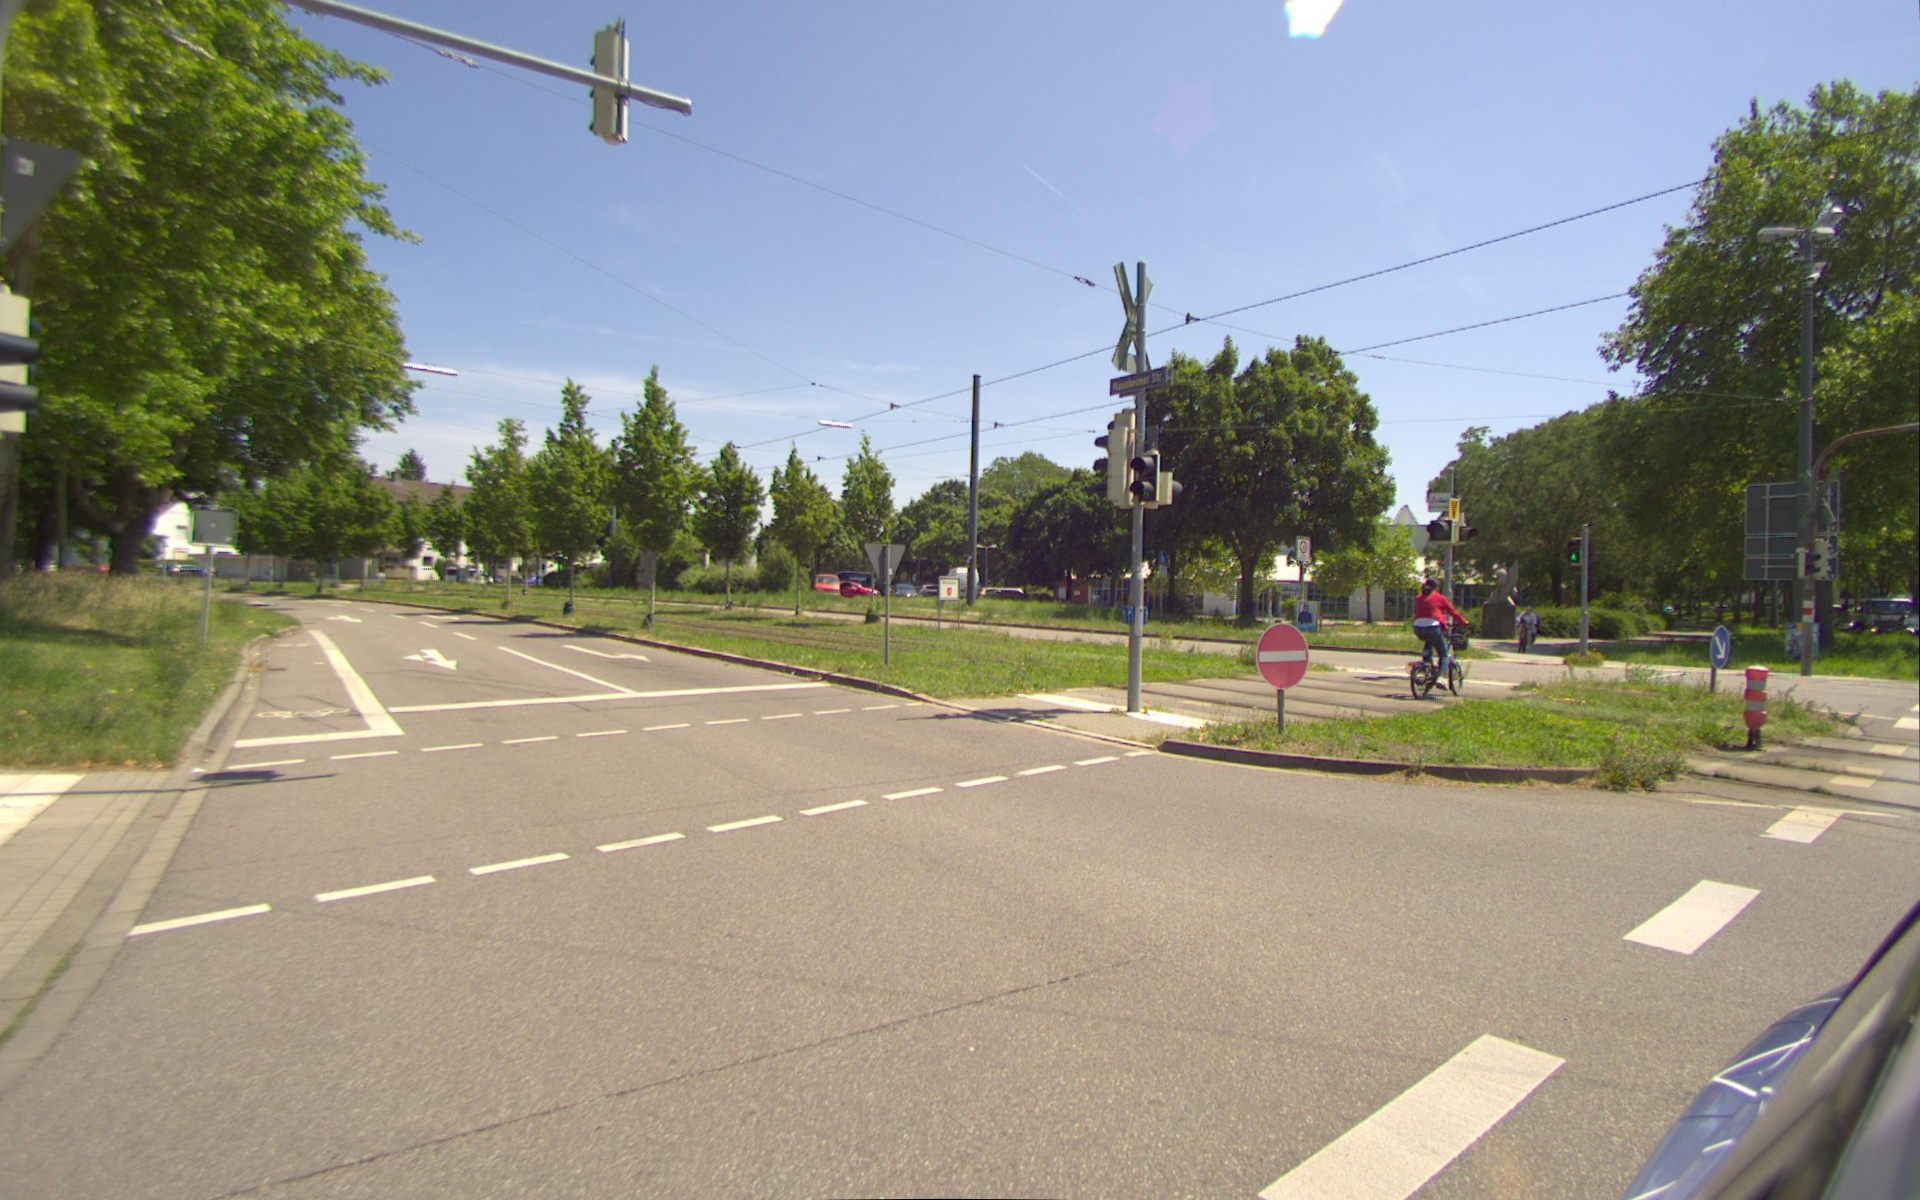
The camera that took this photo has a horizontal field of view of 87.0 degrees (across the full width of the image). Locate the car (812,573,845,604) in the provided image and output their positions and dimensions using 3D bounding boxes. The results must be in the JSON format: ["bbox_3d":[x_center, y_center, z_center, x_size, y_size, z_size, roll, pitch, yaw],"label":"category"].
[{"bbox_3d":[-9.305,-0.819,71.287,2.031,2.028,4.671,1,0,-10],"label":"car"}]

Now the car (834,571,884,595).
[{"bbox_3d":[-9.452,-1.588,94.583,4.329,2.039,2.251,1,0,-14],"label":"car"}]

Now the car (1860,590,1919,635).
[{"bbox_3d":[60.147,0.777,65.172,2.906,2.687,6.276,2,1,39],"label":"car"}]

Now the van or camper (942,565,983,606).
[{"bbox_3d":[0.144,-1.042,72.926,2.158,2.785,5.138,1,1,-9],"label":"van or camper"}]

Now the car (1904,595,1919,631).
[{"bbox_3d":[51.273,0.685,53.221,1.990,1.816,3.944,1,1,38],"label":"car"}]

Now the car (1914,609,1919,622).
[{"bbox_3d":[104.050,1.691,108.478,1.846,1.436,4.493,2,1,33],"label":"car"}]

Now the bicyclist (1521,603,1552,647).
[{"bbox_3d":[18.255,0.790,32.056,0.653,1.356,0.601,1,0,-36],"label":"bicyclist"}]

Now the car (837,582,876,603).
[{"bbox_3d":[-8.440,-0.618,82.133,3.017,1.624,1.517,1,0,-10],"label":"car"}]

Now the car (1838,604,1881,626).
[{"bbox_3d":[69.429,1.127,78.163,1.988,1.638,3.949,2,1,35],"label":"car"}]

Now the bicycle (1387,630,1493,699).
[{"bbox_3d":[6.925,0.903,14.574,1.777,0.907,0.589,1,1,-36],"label":"bicycle"}]

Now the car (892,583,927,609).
[{"bbox_3d":[-3.565,-0.303,70.430,1.916,1.740,4.078,1,0,-9],"label":"car"}]

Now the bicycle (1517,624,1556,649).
[{"bbox_3d":[18.249,1.146,32.008,1.637,0.774,0.465,1,0,-37],"label":"bicycle"}]

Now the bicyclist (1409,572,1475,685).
[{"bbox_3d":[6.937,0.396,14.566,0.661,1.576,0.579,1,0,-36],"label":"bicyclist"}]

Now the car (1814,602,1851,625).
[{"bbox_3d":[74.227,1.127,86.128,1.988,1.861,3.947,2,1,36],"label":"car"}]
